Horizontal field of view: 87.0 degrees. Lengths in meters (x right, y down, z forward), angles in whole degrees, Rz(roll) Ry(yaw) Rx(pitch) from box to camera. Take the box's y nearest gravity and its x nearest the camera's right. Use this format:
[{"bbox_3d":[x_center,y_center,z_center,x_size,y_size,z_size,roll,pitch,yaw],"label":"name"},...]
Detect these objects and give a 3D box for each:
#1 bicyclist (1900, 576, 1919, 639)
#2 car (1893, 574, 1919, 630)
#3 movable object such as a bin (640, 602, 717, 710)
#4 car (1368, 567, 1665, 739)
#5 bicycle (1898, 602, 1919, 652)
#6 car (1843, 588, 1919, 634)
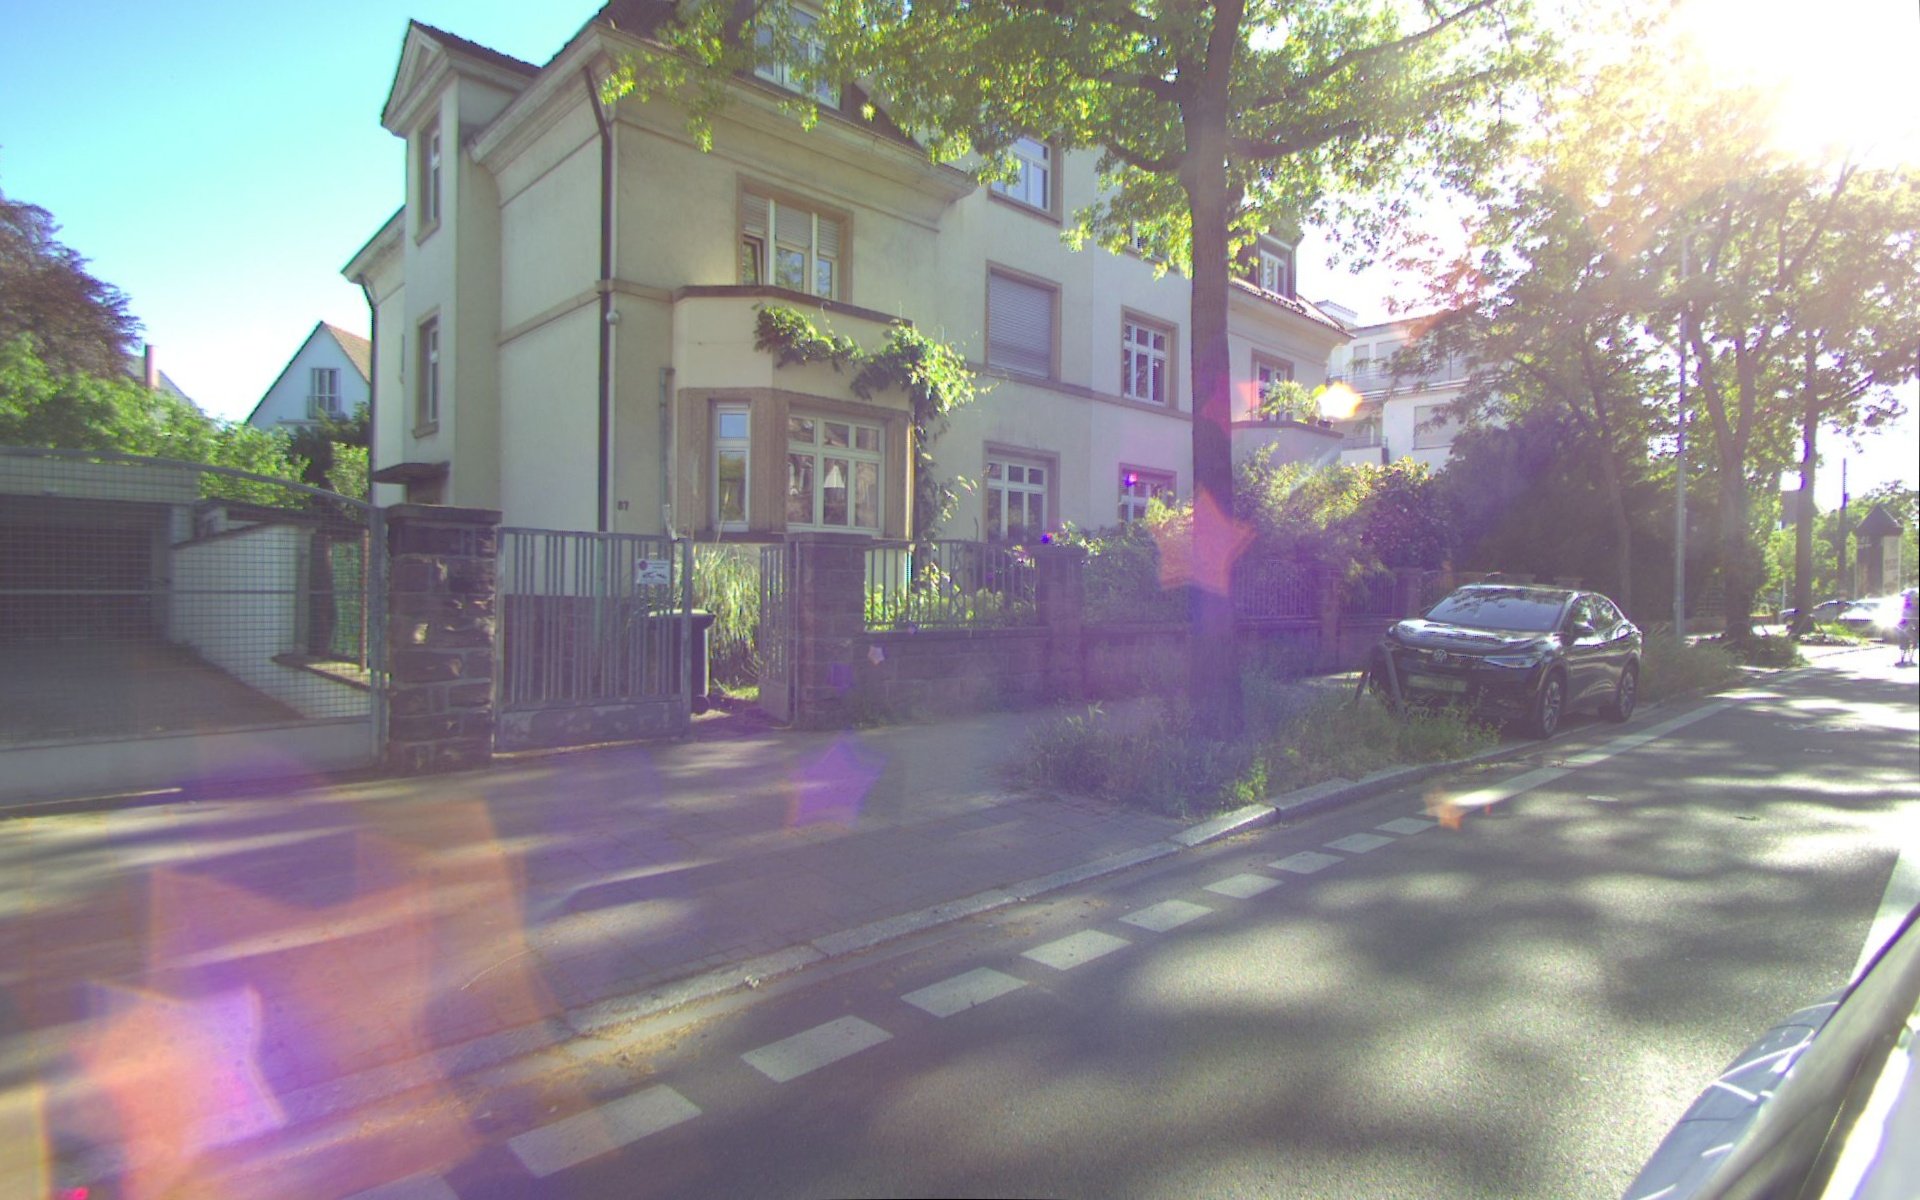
[{"bbox_3d":[23.261,0.165,24.477,1.095,1.506,0.645,0,0,-41],"label":"bicyclist"},{"bbox_3d":[36.791,0.062,38.080,4.503,2.039,1.997,0,1,-41],"label":"car"},{"bbox_3d":[-3.029,0.568,10.834,0.697,1.070,1.093,0,0,-20],"label":"movable object such as a bin"},{"bbox_3d":[6.732,0.503,12.076,4.020,1.626,1.743,0,4,-41],"label":"car"},{"bbox_3d":[23.256,0.634,24.472,1.868,1.158,0.644,0,0,-41],"label":"bicycle"},{"bbox_3d":[31.555,0.348,34.418,3.930,1.469,1.785,0,1,-41],"label":"car"}]
